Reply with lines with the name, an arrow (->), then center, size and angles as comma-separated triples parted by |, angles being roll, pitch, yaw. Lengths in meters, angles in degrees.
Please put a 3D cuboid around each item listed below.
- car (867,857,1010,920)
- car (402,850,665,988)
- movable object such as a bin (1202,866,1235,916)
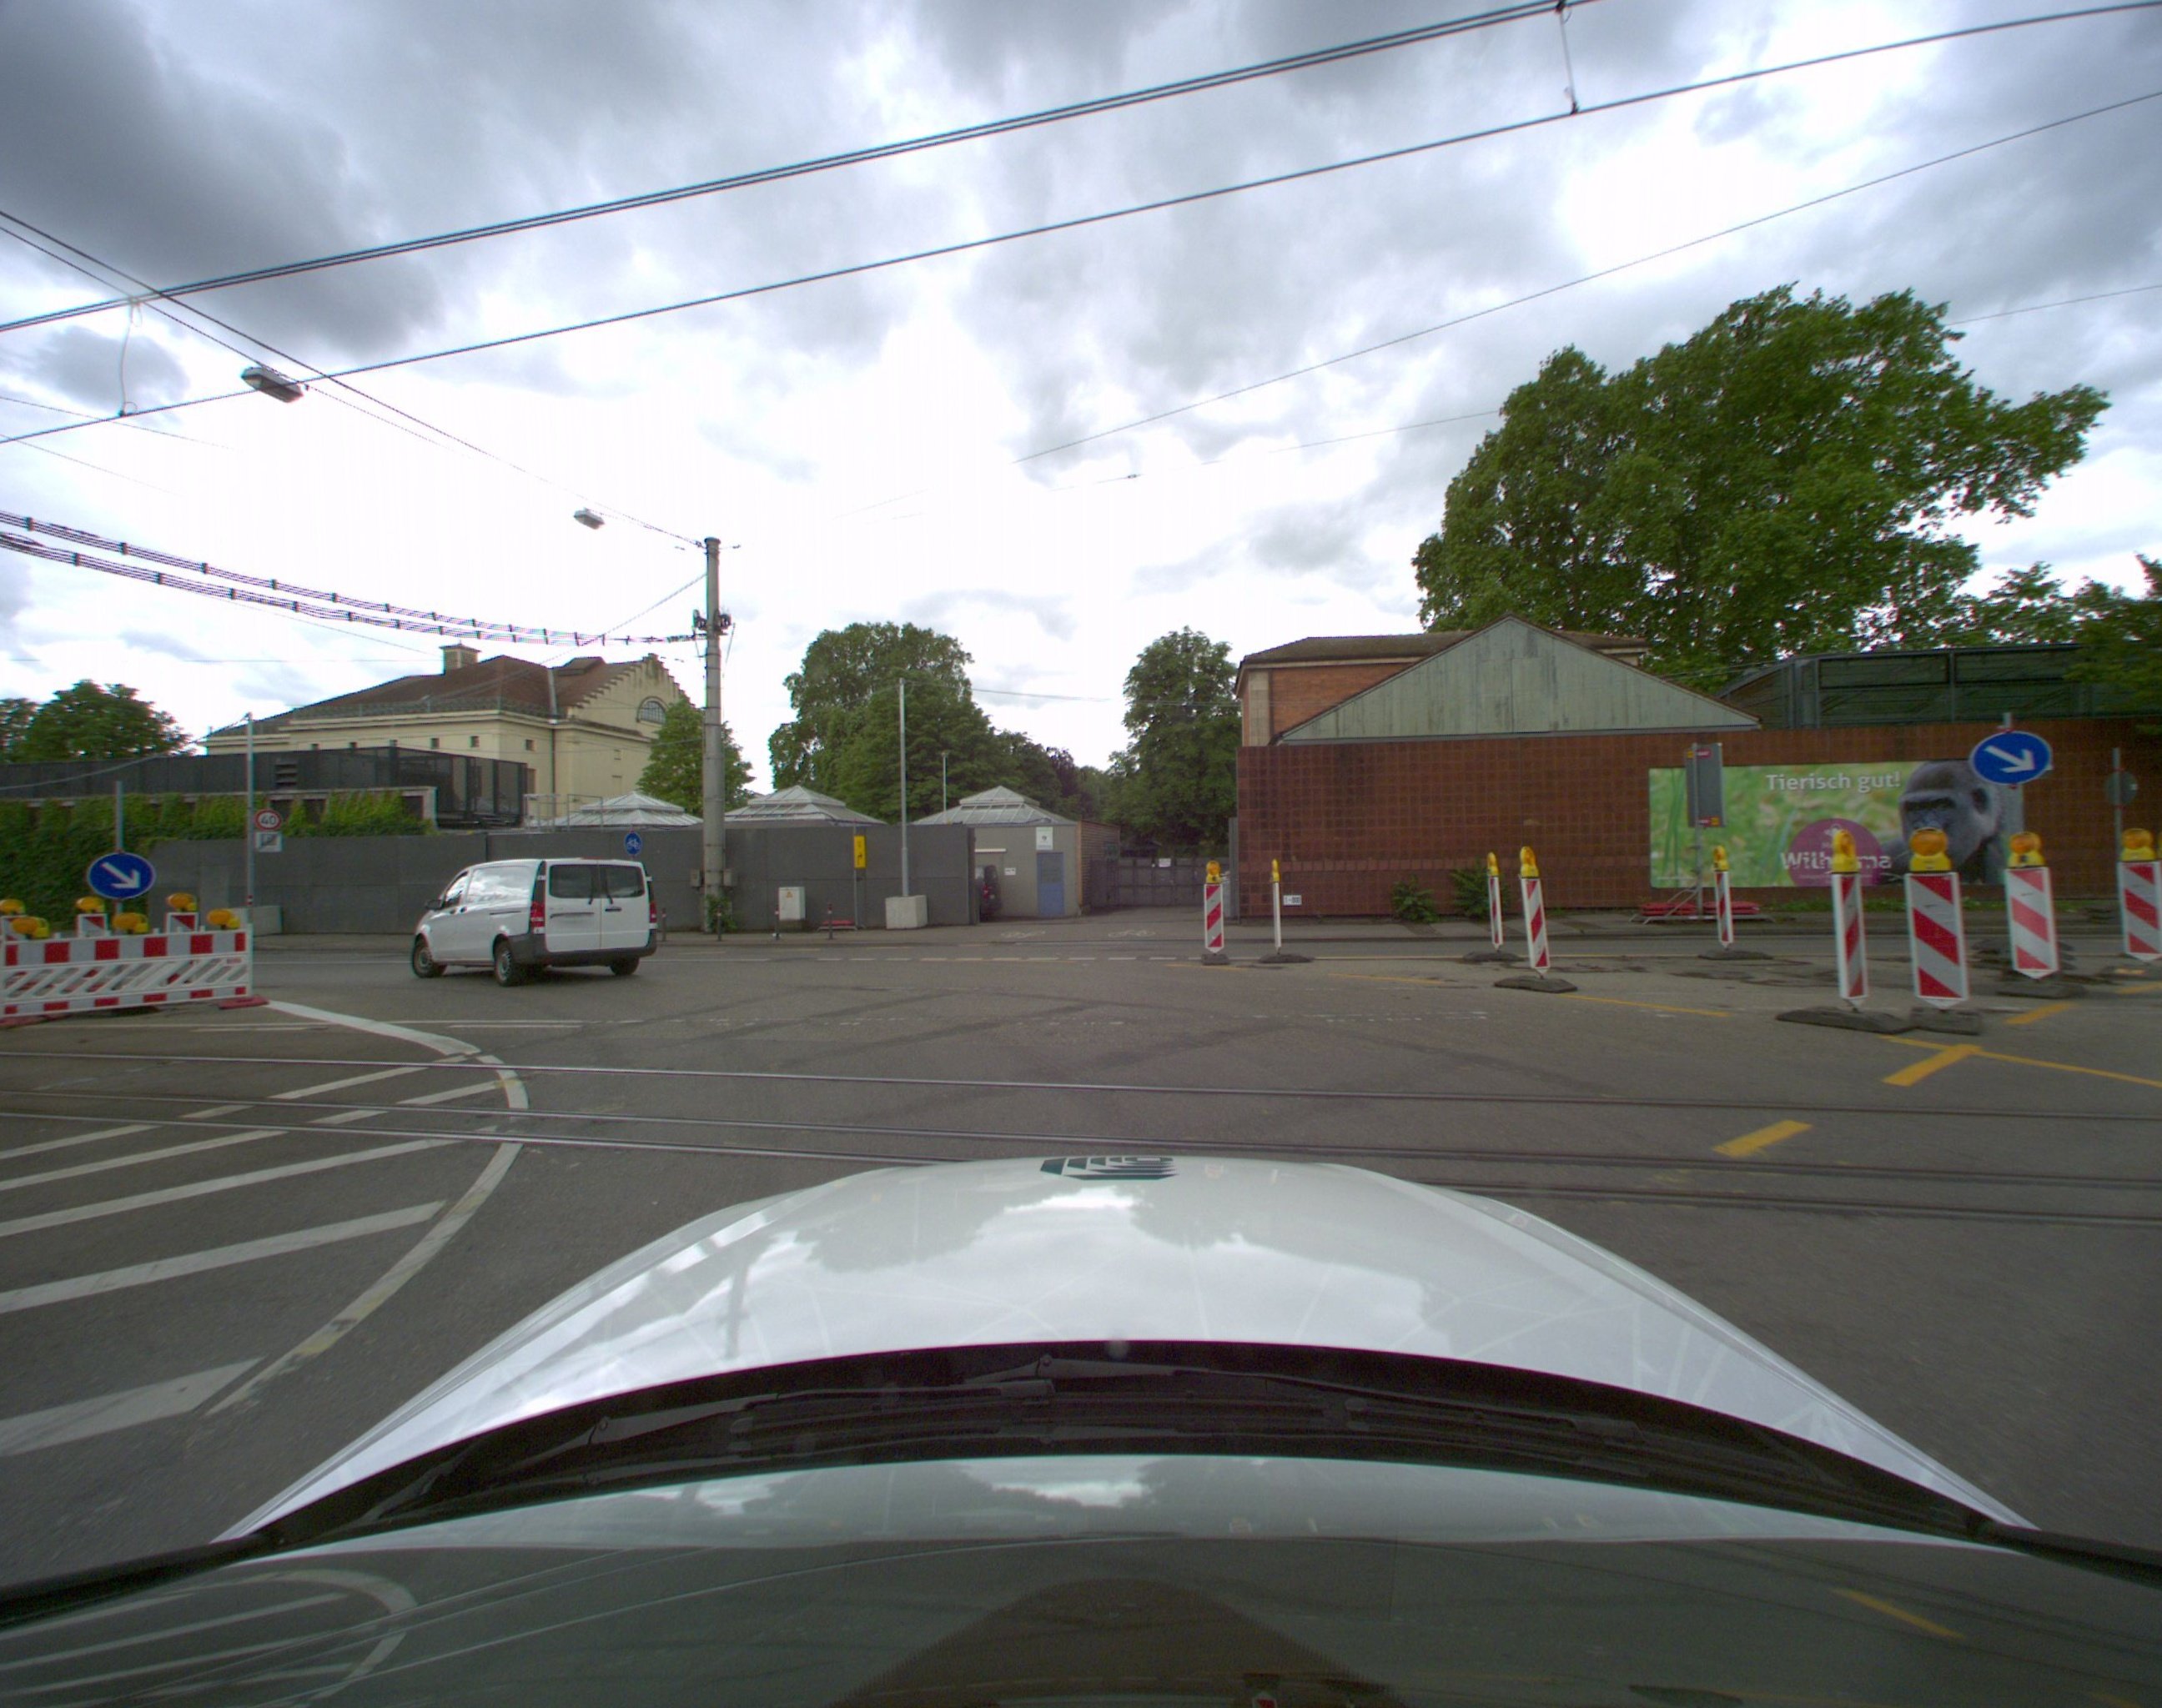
car -> -4.893, 1.182, 28.321 | 4.418, 2.085, 2.110 | -1, -1, 8
car -> -9.114, 1.053, 13.434 | 4.640, 1.901, 1.936 | -5, -2, 34
movable object such as a bin -> 3.827, 1.015, 22.675 | 0.842, 1.340, 0.803 | -2, -1, 11
